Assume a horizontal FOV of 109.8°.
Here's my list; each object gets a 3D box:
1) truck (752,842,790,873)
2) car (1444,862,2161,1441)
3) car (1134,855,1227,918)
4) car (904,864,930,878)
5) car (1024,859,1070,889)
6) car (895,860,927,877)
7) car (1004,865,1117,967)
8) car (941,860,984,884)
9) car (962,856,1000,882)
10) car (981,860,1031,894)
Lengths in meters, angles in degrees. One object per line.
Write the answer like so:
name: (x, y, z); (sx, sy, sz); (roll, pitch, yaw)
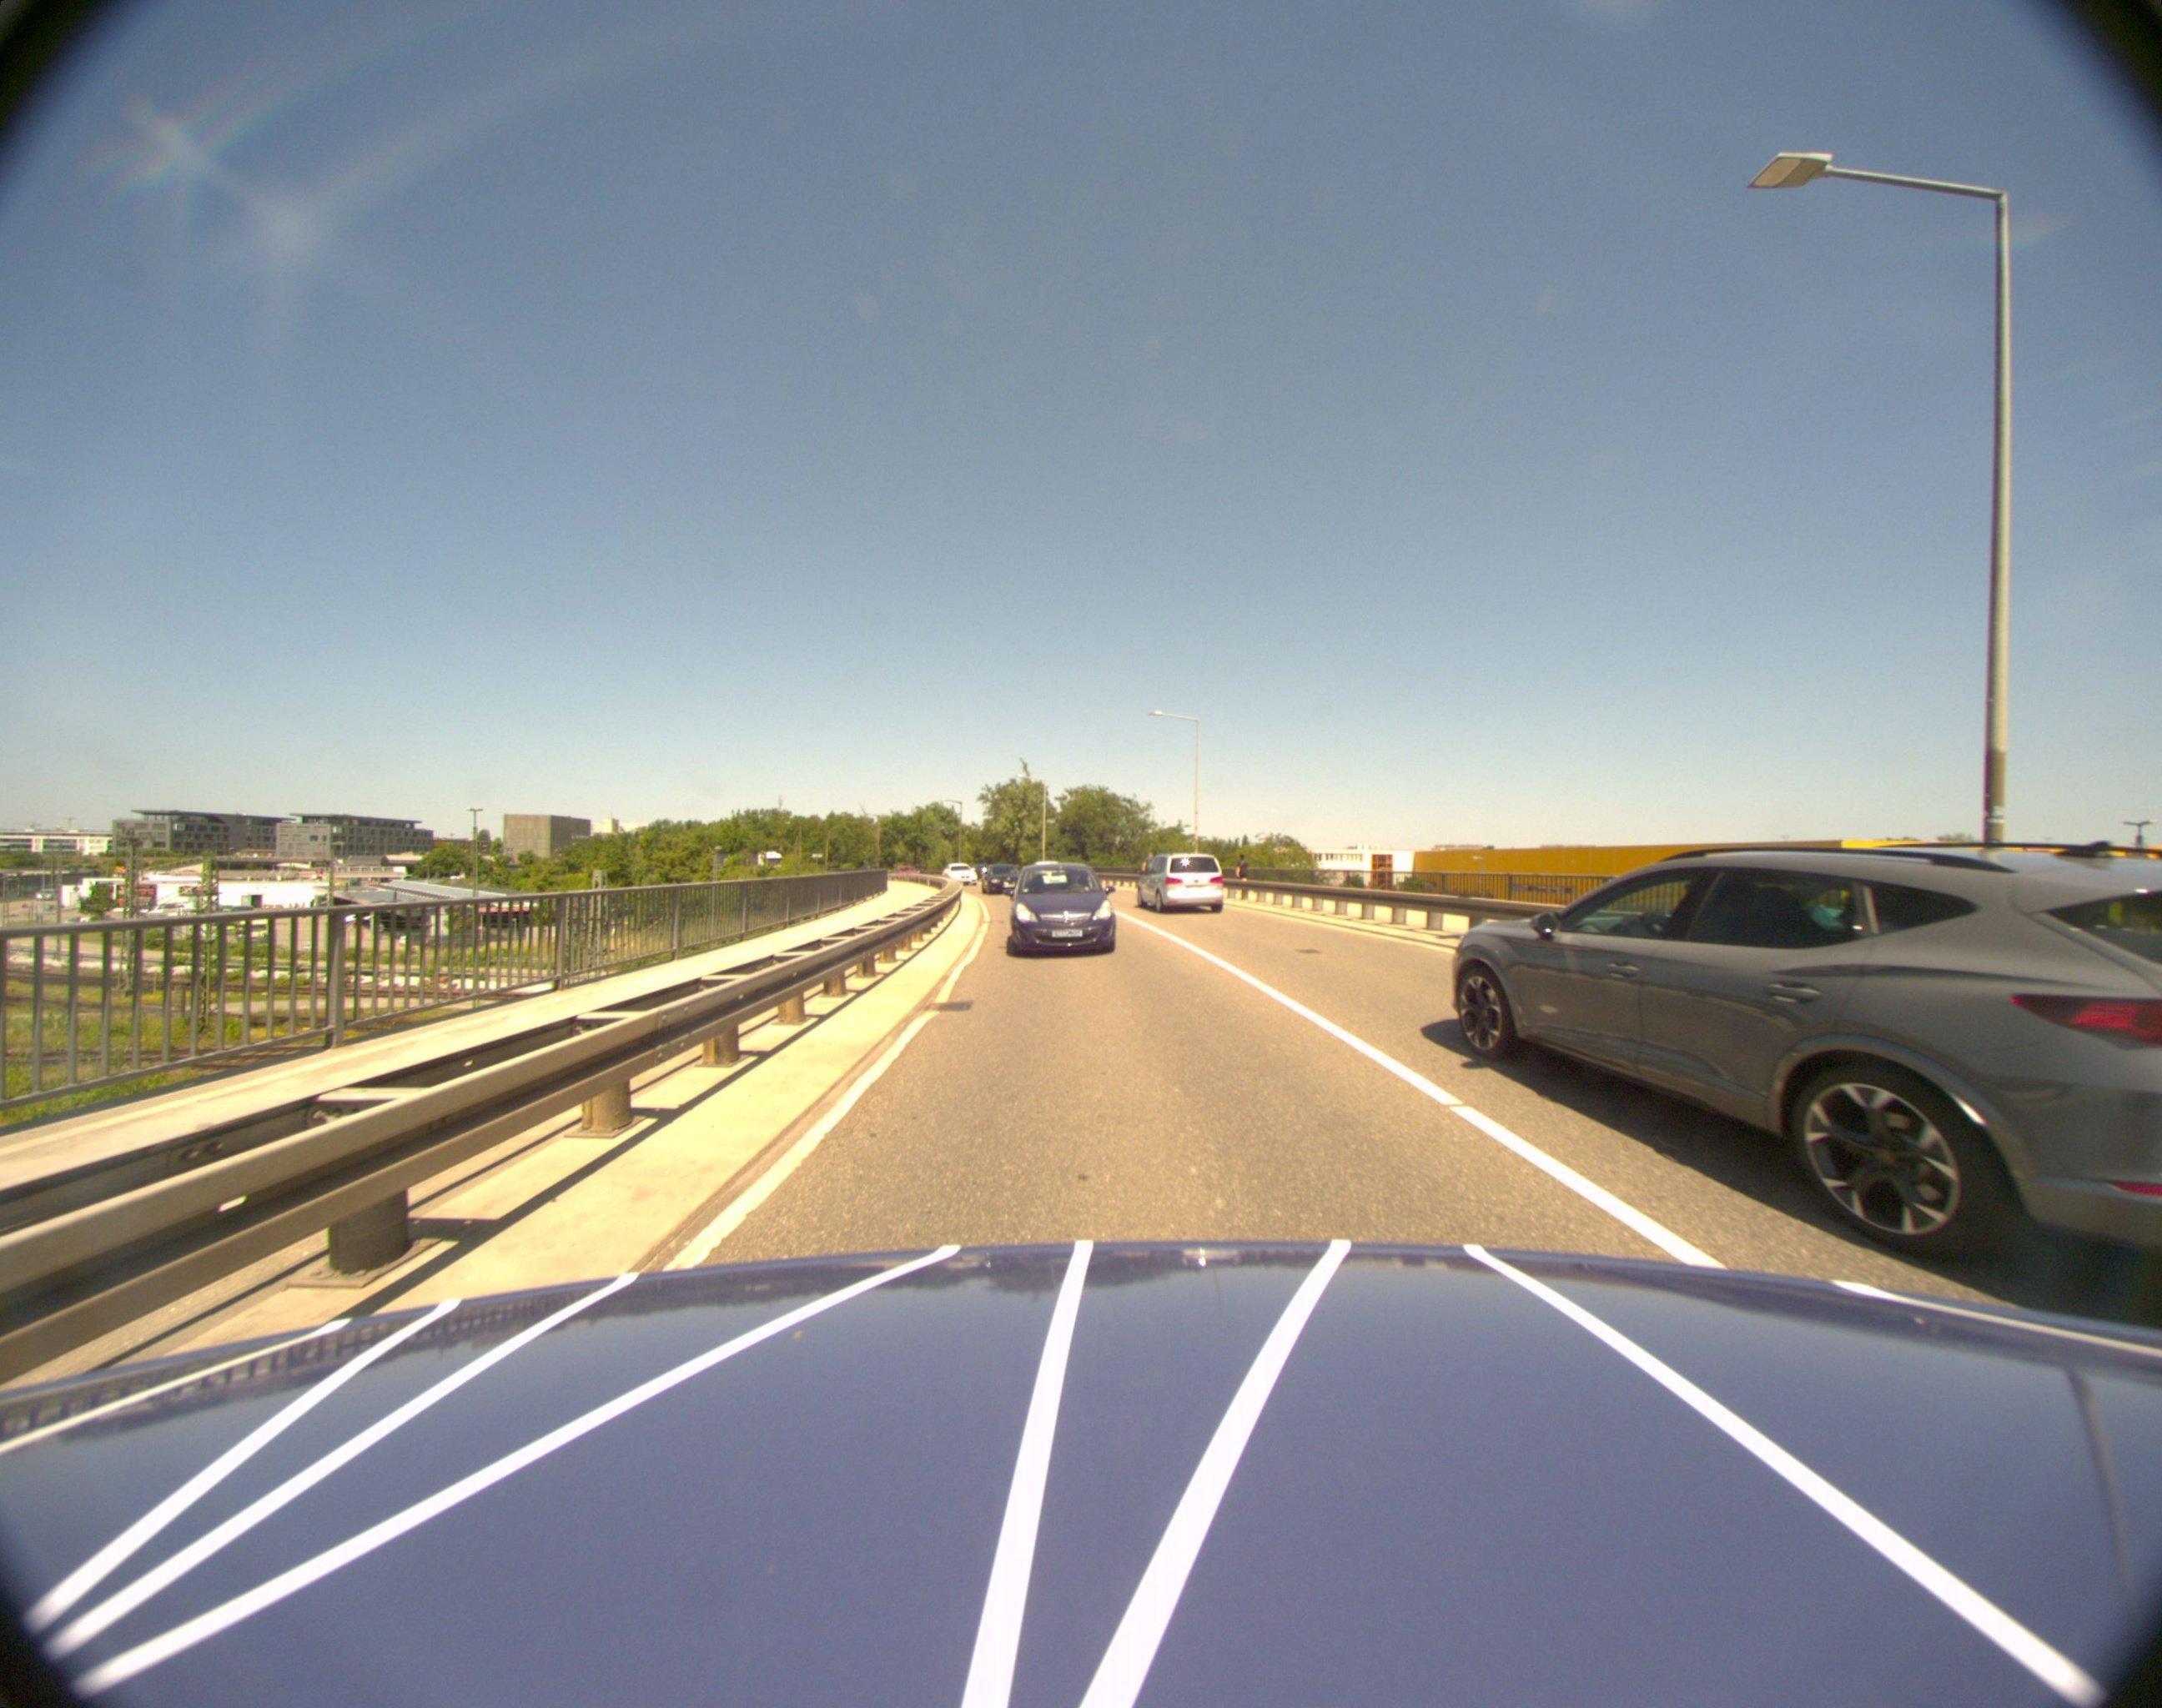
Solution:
truck: (-45.439, 0.525, 111.274); (2.701, 4.204, 6.821); (-4, 1, -42)
car: (3.783, 0.820, 3.932); (1.779, 1.499, 4.194); (-1, 0, 0)
car: (2.757, 0.854, 21.893); (1.699, 1.598, 3.997); (-1, 0, -7)
car: (-17.441, 1.791, 80.763); (1.540, 1.421, 3.991); (-1, -1, -31)
car: (-1.982, 1.089, 43.248); (1.700, 1.598, 3.995); (-1, 0, -16)
car: (-15.183, 1.275, 67.762); (1.798, 1.446, 4.514); (-1, 0, -26)
car: (-0.394, 0.962, 13.458); (1.645, 1.431, 3.999); (-2, 0, -3)
car: (-7.978, 1.191, 50.804); (1.797, 1.446, 4.515); (-2, 0, -22)
car: (-8.191, 1.244, 62.161); (2.002, 2.002, 3.993); (-2, 0, -23)
car: (-3.649, 1.063, 36.412); (1.796, 1.446, 4.518); (-2, 0, -13)
